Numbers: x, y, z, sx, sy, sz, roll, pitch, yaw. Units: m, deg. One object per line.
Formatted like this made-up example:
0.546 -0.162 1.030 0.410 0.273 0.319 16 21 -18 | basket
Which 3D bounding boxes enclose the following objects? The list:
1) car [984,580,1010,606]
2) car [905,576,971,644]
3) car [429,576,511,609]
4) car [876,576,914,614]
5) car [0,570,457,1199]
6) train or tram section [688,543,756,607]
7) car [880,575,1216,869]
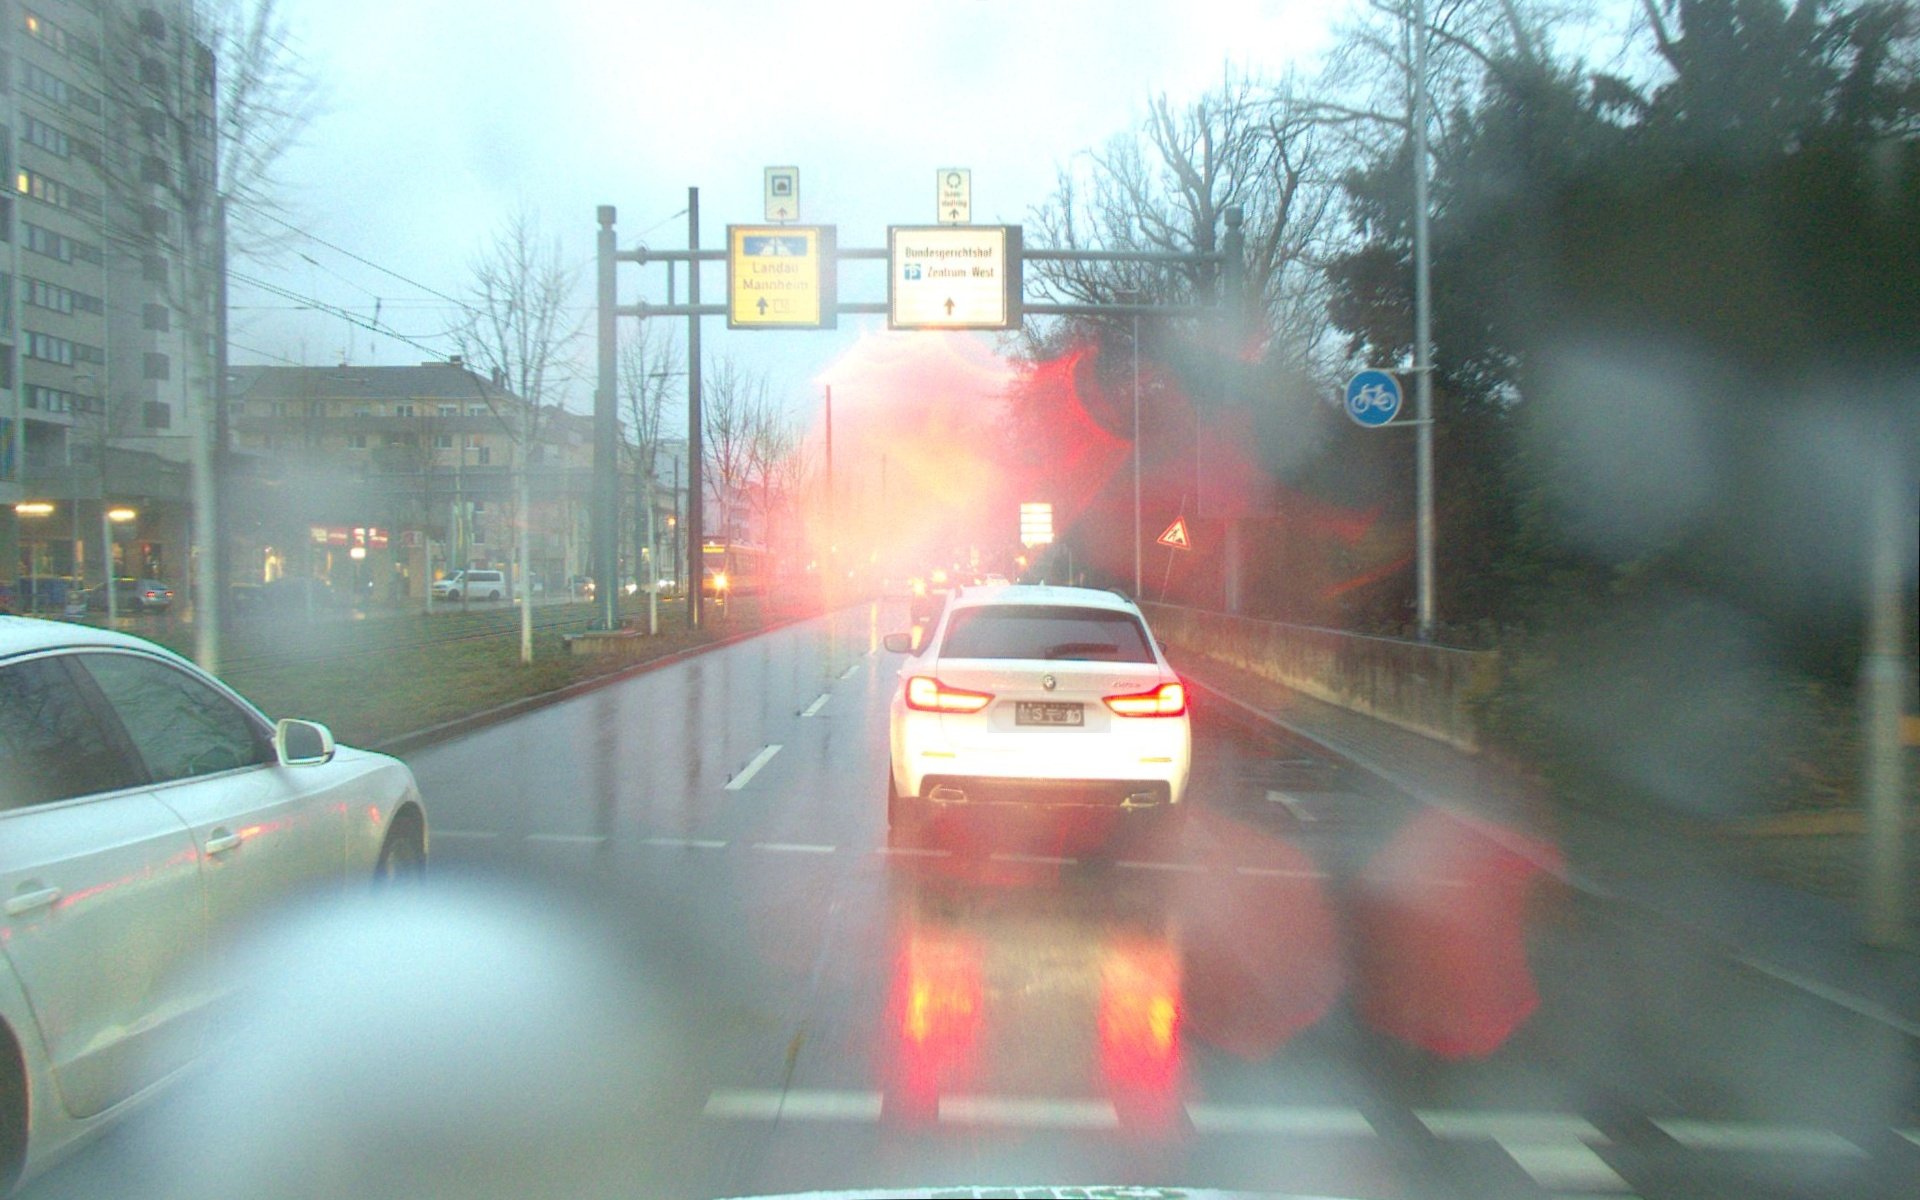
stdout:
3.039 -0.554 134.850 1.953 2.049 4.000 1 1 -1 | car
-0.687 0.284 52.239 1.953 2.049 4.000 1 1 -1 | car
-31.942 -0.498 107.886 4.843 2.049 1.969 -1 1 -42 | car
-3.608 -0.289 92.310 1.953 2.049 4.000 1 1 -1 | car
-2.704 0.674 4.025 1.724 1.495 4.250 1 1 -1 | car
-14.064 -1.455 98.494 2.784 3.566 9.157 -1 1 -1 | train or tram section
0.380 0.643 11.085 1.725 1.579 4.248 1 1 -4 | car
